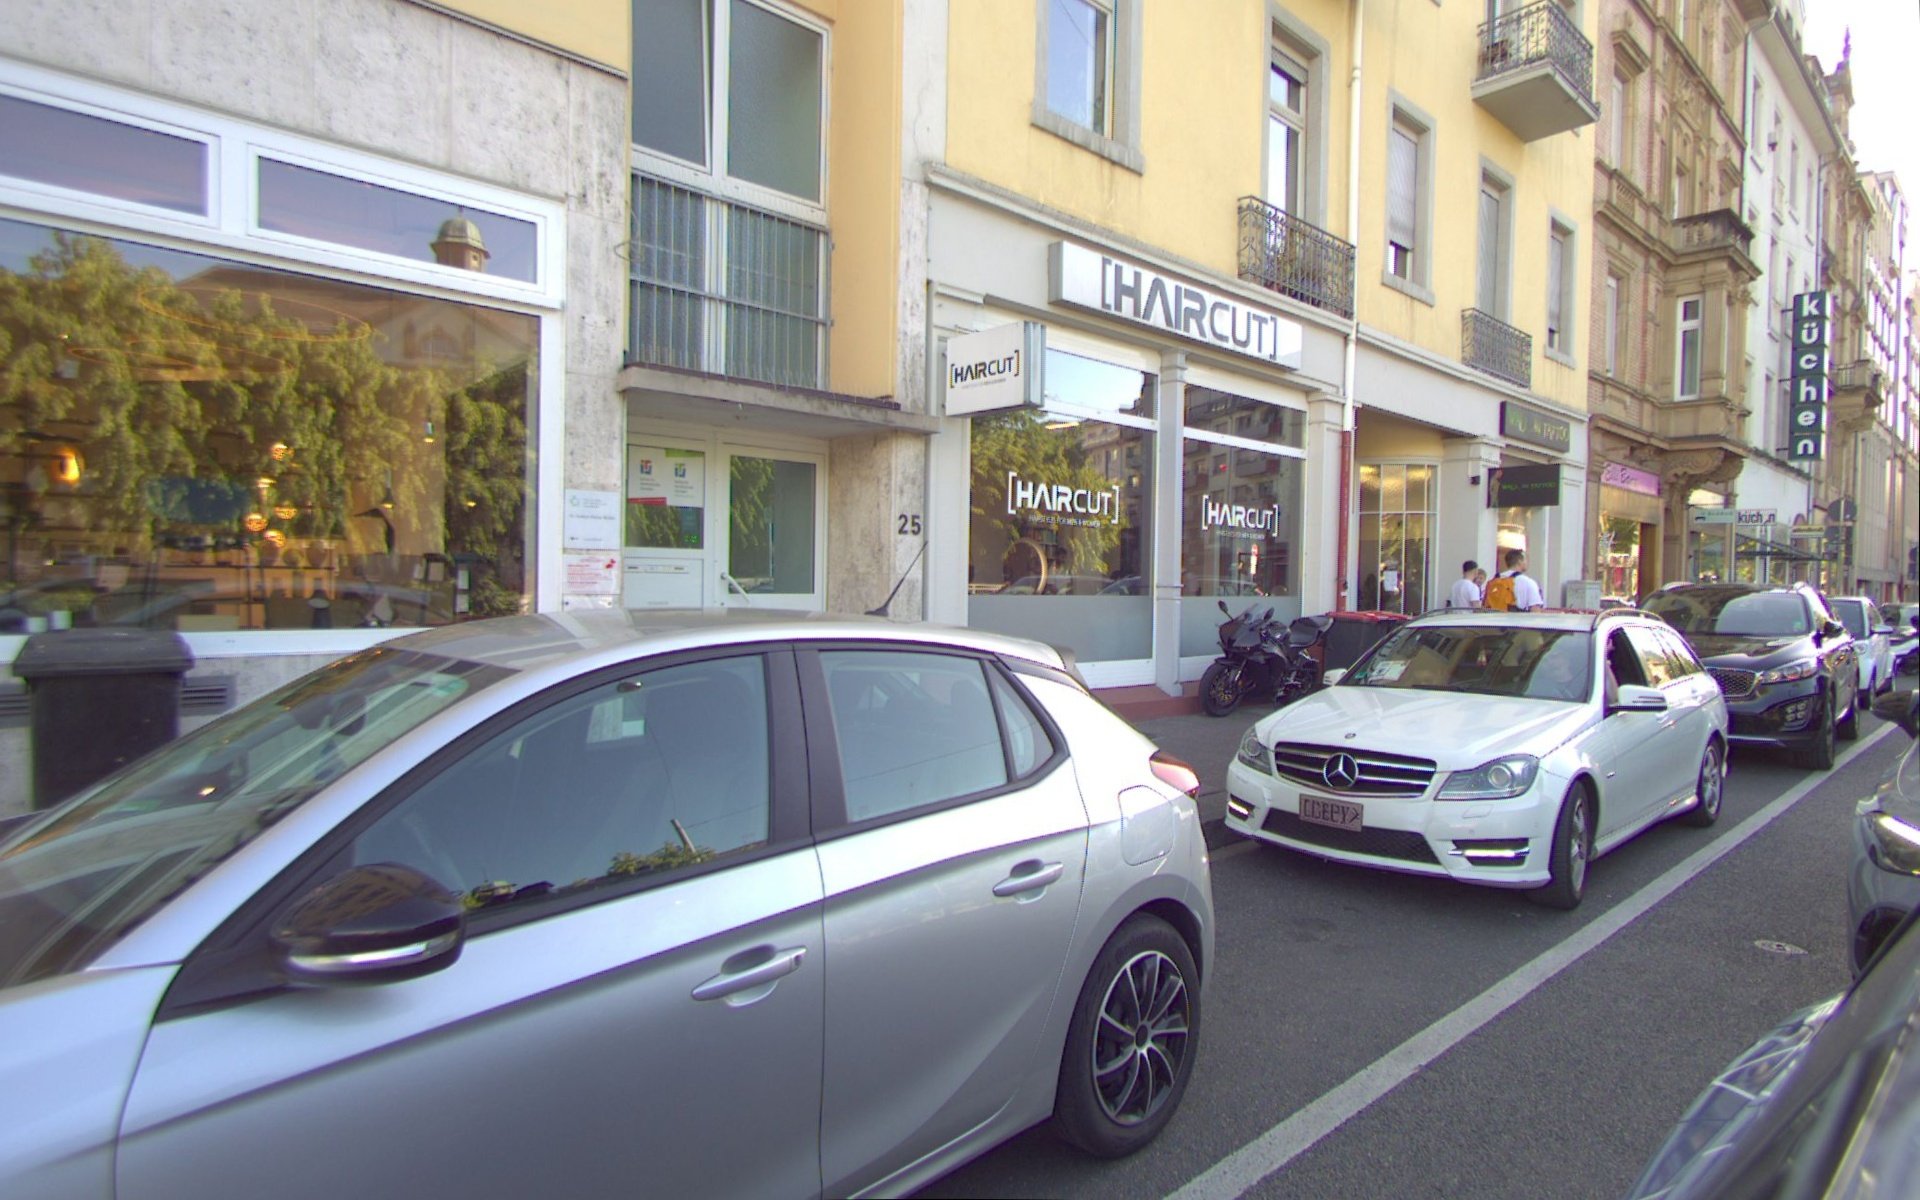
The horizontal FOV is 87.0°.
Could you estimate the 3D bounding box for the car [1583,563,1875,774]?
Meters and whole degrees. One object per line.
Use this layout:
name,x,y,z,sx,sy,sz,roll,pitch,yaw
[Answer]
car,8.009,0.530,10.372,4.338,1.711,1.802,-1,0,-45

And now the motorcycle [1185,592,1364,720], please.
motorcycle,3.301,0.523,10.509,2.073,1.144,0.735,-1,5,-41

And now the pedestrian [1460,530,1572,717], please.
pedestrian,5.835,0.220,10.616,0.809,1.845,0.967,0,1,44

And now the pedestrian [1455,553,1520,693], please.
pedestrian,7.239,0.301,13.879,0.627,1.859,0.760,0,0,41

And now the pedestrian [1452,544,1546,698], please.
pedestrian,6.854,0.254,12.903,0.961,1.900,0.532,0,0,18

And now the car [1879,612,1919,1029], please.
car,5.398,0.750,4.381,4.397,1.385,1.767,-1,1,-43

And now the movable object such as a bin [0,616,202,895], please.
movable object such as a bin,-3.674,0.600,4.328,0.639,1.036,0.737,0,0,-41

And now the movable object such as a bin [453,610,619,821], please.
movable object such as a bin,-2.327,0.581,5.542,0.639,1.036,0.737,0,0,-41

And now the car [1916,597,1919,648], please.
car,26.609,0.573,26.933,3.306,1.334,1.459,-1,0,-42

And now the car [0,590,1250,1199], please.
car,-1.006,0.715,2.312,3.625,1.455,1.585,-1,0,-43

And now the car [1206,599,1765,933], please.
car,3.533,0.708,6.392,4.301,1.389,1.671,-1,0,-41

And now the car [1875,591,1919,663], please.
car,21.897,0.565,22.815,3.736,1.509,1.691,-1,0,-45

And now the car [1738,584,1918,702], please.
car,12.771,0.547,14.858,2.945,1.542,1.582,-1,0,-41
